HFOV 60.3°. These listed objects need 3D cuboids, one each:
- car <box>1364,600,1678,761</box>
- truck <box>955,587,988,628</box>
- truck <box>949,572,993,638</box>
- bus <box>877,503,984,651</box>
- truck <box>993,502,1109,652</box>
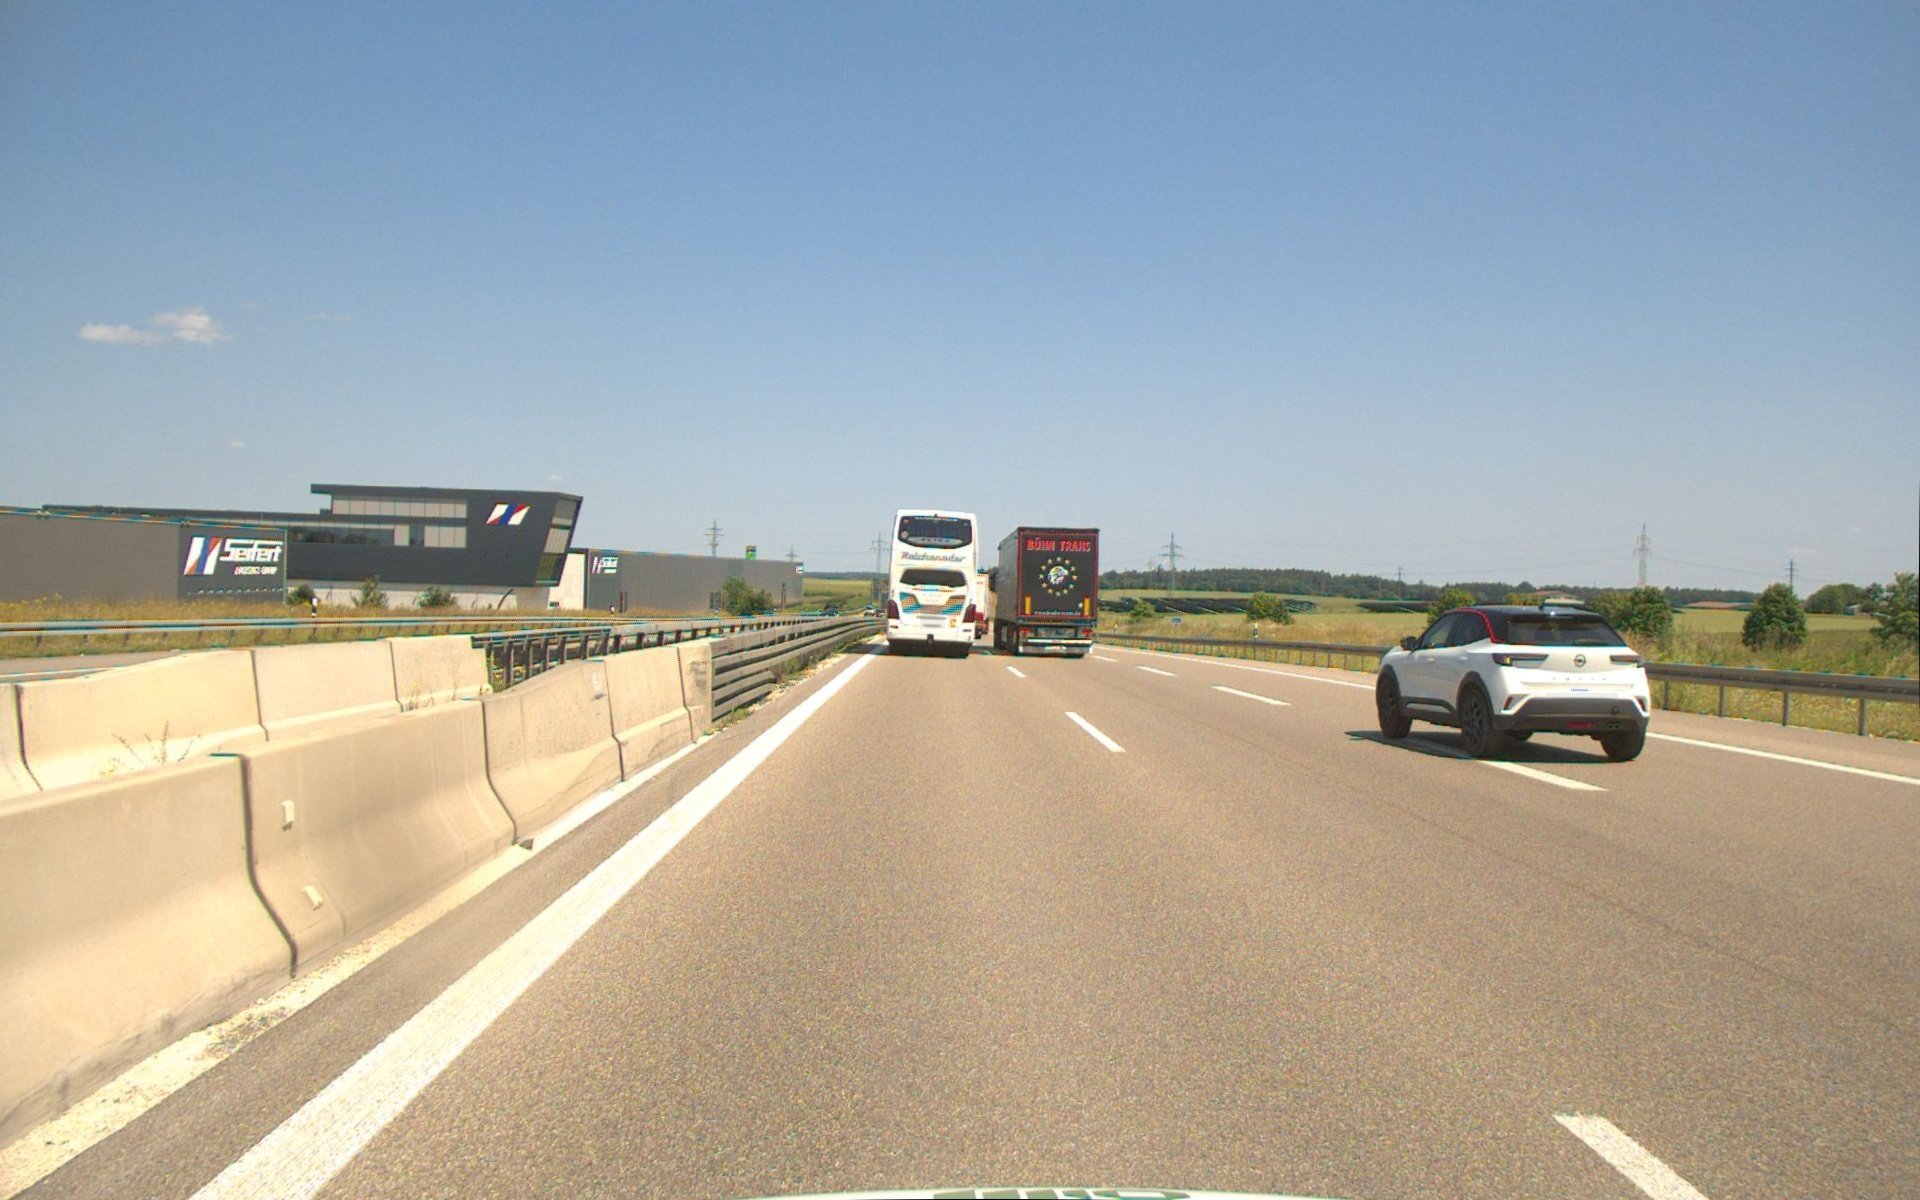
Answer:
[{"bbox_3d":[6.013,0.790,18.315,1.853,1.556,4.259,0,0,-3],"label":"car"},{"bbox_3d":[0.962,0.622,143.496,2.530,3.460,8.680,1,0,-2],"label":"truck"},{"bbox_3d":[0.645,0.299,101.794,2.388,3.855,6.490,1,0,-2],"label":"truck"},{"bbox_3d":[-0.988,-0.749,50.282,2.920,4.044,9.102,1,1,-2],"label":"bus"},{"bbox_3d":[2.935,-0.564,57.533,3.310,4.542,13.566,1,-1,0],"label":"truck"}]
